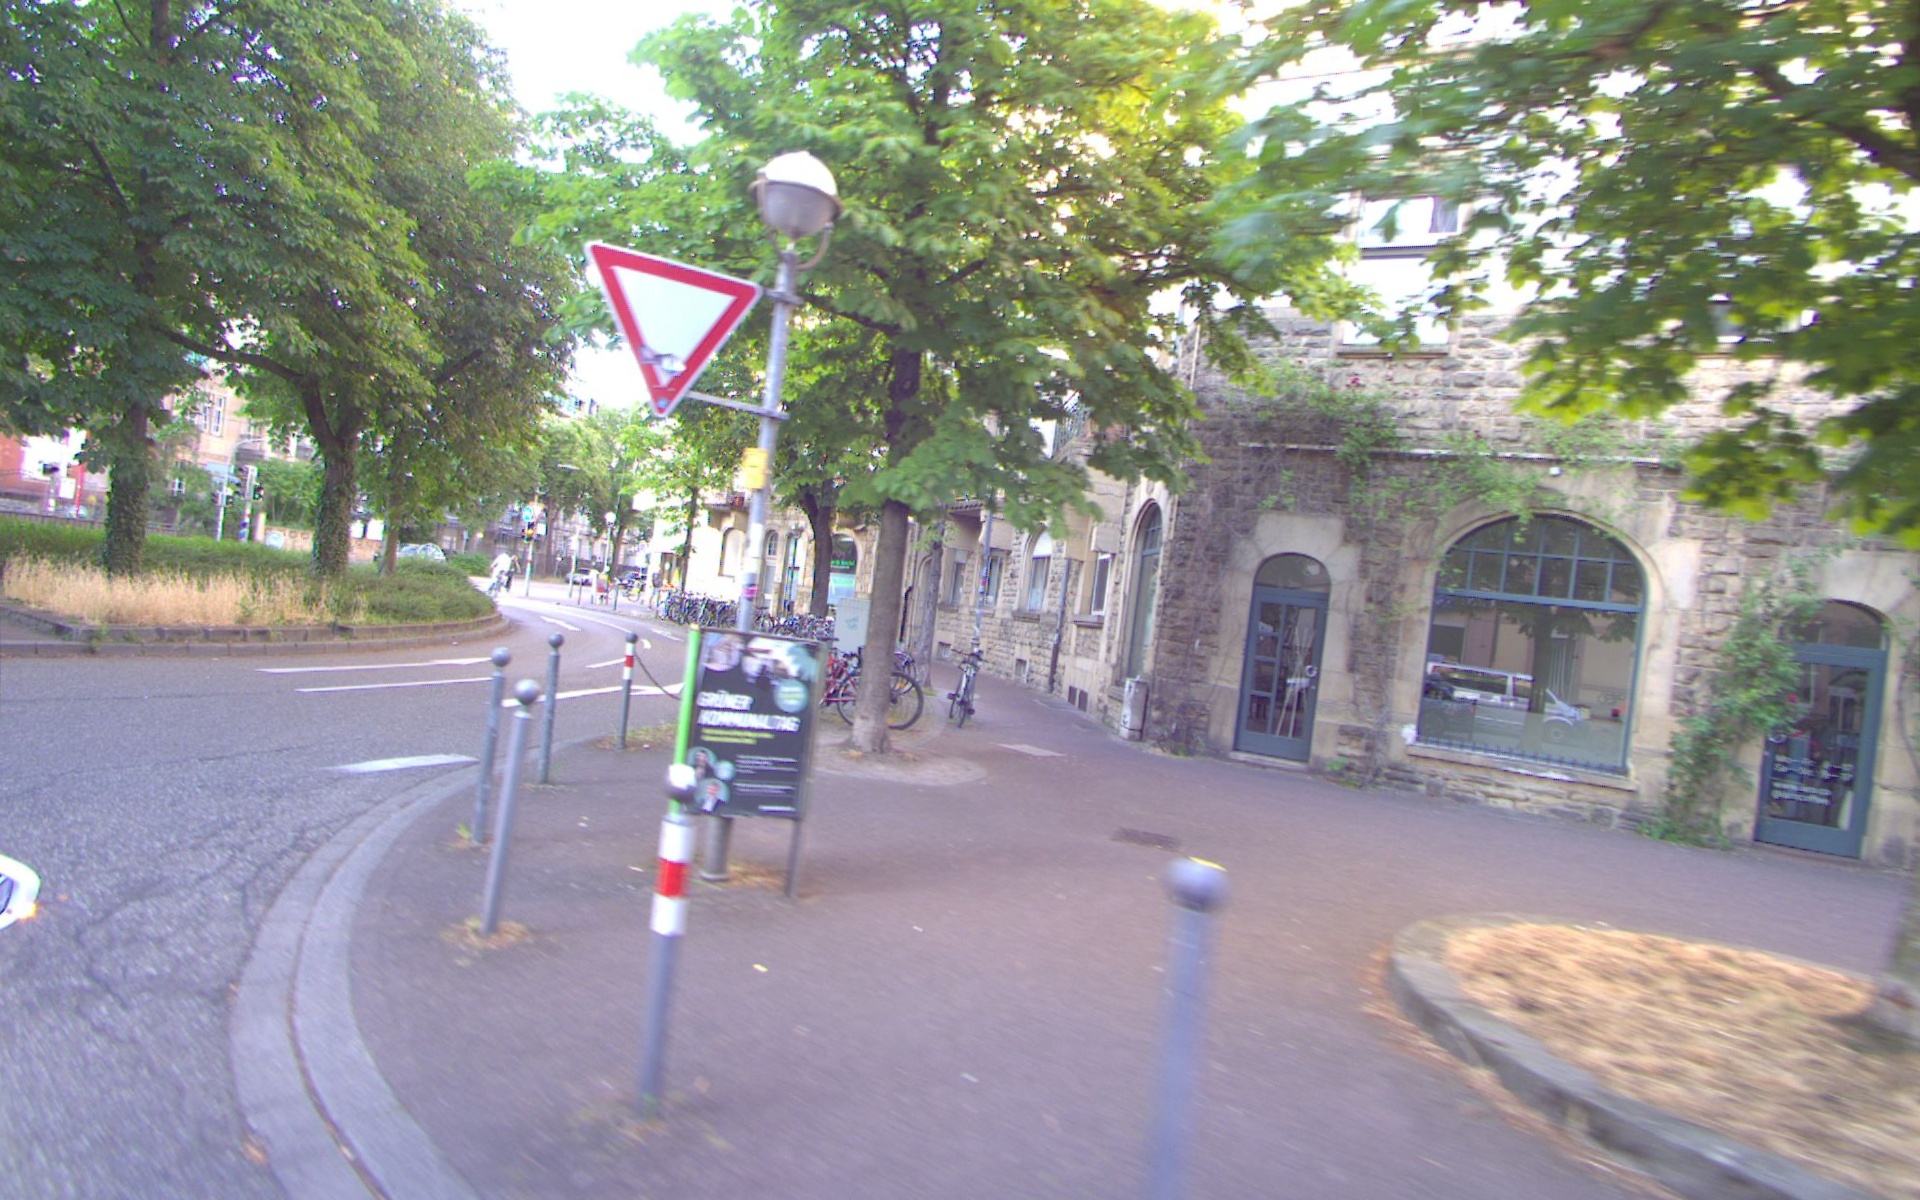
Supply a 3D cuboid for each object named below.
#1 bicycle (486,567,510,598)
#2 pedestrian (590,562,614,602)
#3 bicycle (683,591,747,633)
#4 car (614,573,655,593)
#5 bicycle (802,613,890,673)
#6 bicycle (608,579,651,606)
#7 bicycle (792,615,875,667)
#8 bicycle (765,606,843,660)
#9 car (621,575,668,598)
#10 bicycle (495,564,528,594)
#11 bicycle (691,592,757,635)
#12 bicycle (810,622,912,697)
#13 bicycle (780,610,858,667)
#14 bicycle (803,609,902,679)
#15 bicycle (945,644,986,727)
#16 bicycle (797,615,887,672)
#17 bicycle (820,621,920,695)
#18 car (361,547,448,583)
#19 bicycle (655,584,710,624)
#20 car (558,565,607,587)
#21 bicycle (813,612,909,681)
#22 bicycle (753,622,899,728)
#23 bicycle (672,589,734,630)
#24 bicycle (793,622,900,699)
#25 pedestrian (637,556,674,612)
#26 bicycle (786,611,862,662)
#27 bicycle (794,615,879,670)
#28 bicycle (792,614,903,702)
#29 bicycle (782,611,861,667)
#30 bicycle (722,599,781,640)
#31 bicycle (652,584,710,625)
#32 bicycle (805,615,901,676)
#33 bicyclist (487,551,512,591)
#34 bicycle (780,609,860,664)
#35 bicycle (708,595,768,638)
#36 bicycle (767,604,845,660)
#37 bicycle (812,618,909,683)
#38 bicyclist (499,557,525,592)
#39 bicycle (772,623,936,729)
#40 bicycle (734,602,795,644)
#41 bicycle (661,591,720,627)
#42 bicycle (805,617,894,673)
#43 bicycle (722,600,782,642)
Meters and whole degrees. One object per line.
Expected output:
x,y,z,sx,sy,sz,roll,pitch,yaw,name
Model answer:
-17.995,-0.699,39.226,0.690,1.067,1.783,7,0,-23,bicycle
-17.526,-0.895,49.242,0.859,1.817,0.919,7,1,-23,pedestrian
-8.195,0.401,33.645,1.874,1.176,0.634,7,0,-35,bicycle
-30.858,-1.576,95.613,1.913,1.500,4.171,7,-1,9,car
-2.564,0.977,22.649,1.826,1.130,0.418,7,0,-14,bicycle
-16.908,-0.369,51.441,1.858,1.144,0.726,7,0,-31,bicycle
-2.996,0.986,23.893,1.828,1.012,0.417,7,0,-19,bicycle
-4.136,0.882,26.697,1.867,1.154,0.487,9,3,-32,bicycle
-27.238,-1.136,87.006,1.913,1.528,4.636,7,-1,9,car
-20.334,-0.940,45.630,0.687,1.251,1.861,7,0,-5,bicycle
-7.751,0.448,33.036,1.874,1.176,0.698,7,0,-35,bicycle
-1.685,1.009,17.109,1.581,1.076,0.418,7,0,-11,bicycle
-3.487,0.968,24.991,1.828,1.133,0.421,7,-19,-19,bicycle
-2.252,0.923,21.068,1.892,1.215,0.550,7,0,-17,bicycle
0.059,1.149,13.890,0.424,0.981,1.727,7,-1,-1,bicycle
-2.710,1.012,23.173,1.892,1.074,0.533,7,0,-18,bicycle
-1.570,1.006,17.516,1.581,1.089,0.418,7,0,-11,bicycle
-31.573,-1.976,57.374,1.913,1.528,4.423,7,-1,9,car
-10.235,0.147,37.106,0.642,1.251,1.784,7,0,43,bicycle
-31.943,-2.002,85.363,1.972,1.444,4.635,7,-1,5,car
-2.002,0.949,20.379,1.768,1.182,0.446,7,0,-15,bicycle
-1.599,0.887,12.096,1.577,1.052,0.432,7,0,5,bicycle
-8.727,0.345,34.160,0.632,1.176,1.881,7,0,45,bicycle
-1.819,0.971,16.183,1.580,1.033,0.554,7,0,-7,bicycle
-12.466,-0.661,41.142,1.003,2.112,1.051,6,1,-32,pedestrian
-3.493,0.958,25.962,1.843,1.117,0.567,8,0,-42,bicycle
-2.902,1.002,23.619,1.828,1.064,0.417,7,0,-19,bicycle
-1.758,0.898,15.744,1.580,1.162,0.554,7,0,-7,bicycle
-3.394,0.978,24.732,1.828,1.095,0.421,7,-19,-19,bicycle
-6.587,0.618,31.798,1.656,1.091,0.483,7,0,-29,bicycle
-9.962,0.156,35.963,0.691,1.251,1.783,7,0,45,bicycle
-2.321,0.991,21.810,1.892,1.078,0.550,7,0,-17,bicycle
-17.945,-1.133,39.222,0.690,1.428,0.860,7,0,-23,bicyclist
-3.528,0.926,25.399,1.828,1.158,0.417,7,0,-19,bicycle
-7.036,0.530,31.881,1.656,1.144,0.482,7,6,-28,bicycle
-4.016,0.839,26.276,1.858,1.229,0.491,7,-6,-19,bicycle
-1.980,1.003,19.968,1.768,1.076,0.446,7,0,-15,bicycle
-20.304,-1.154,45.623,0.687,1.479,0.783,7,0,-6,bicyclist
-1.300,0.924,12.442,1.863,1.052,0.432,7,0,5,bicycle
-5.911,0.697,30.418,1.661,1.091,0.481,7,0,-36,bicycle
-9.438,0.322,35.297,0.691,1.051,1.797,7,-1,45,bicycle
-2.451,1.007,22.346,1.826,1.026,0.418,7,0,-14,bicycle
-6.350,0.643,30.726,1.661,1.091,0.481,7,0,-36,bicycle
